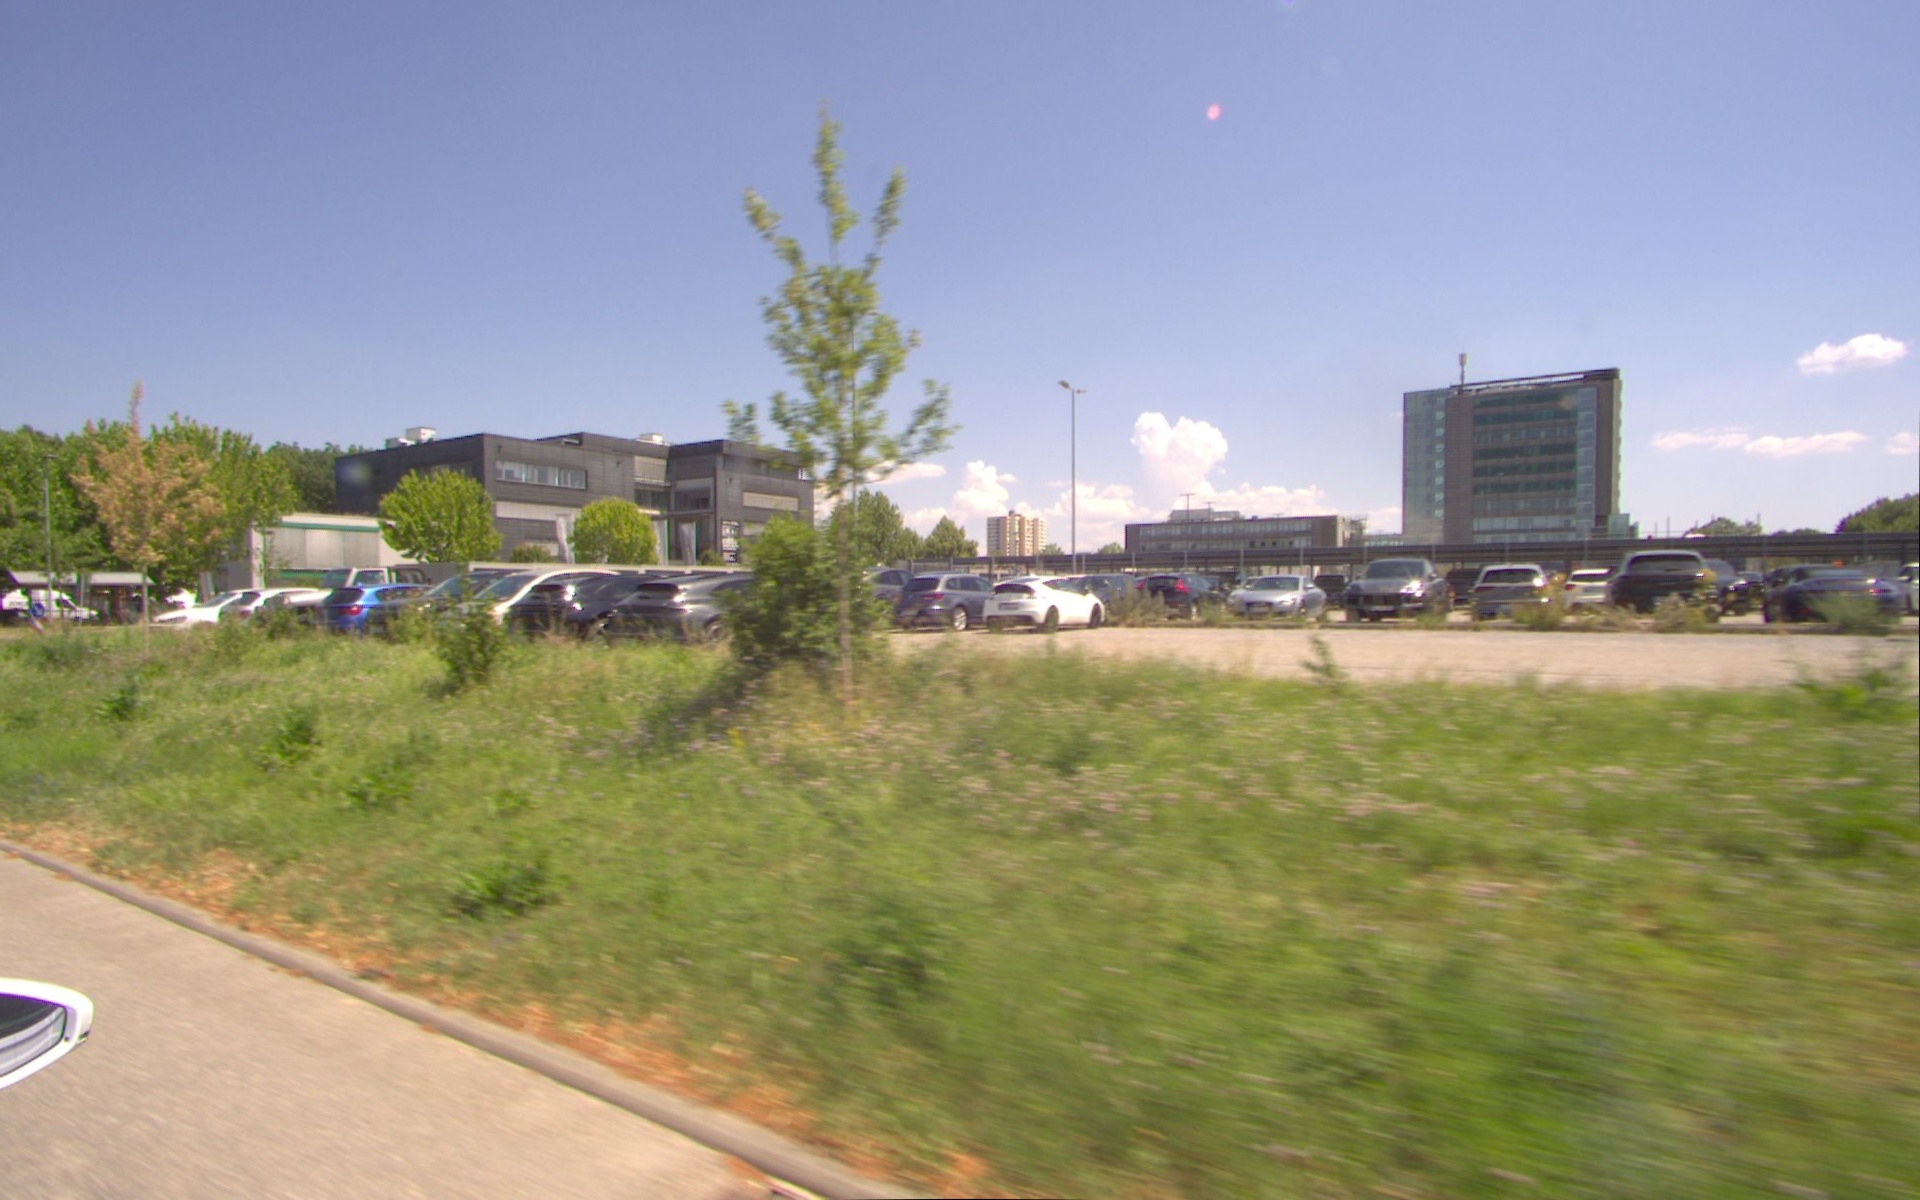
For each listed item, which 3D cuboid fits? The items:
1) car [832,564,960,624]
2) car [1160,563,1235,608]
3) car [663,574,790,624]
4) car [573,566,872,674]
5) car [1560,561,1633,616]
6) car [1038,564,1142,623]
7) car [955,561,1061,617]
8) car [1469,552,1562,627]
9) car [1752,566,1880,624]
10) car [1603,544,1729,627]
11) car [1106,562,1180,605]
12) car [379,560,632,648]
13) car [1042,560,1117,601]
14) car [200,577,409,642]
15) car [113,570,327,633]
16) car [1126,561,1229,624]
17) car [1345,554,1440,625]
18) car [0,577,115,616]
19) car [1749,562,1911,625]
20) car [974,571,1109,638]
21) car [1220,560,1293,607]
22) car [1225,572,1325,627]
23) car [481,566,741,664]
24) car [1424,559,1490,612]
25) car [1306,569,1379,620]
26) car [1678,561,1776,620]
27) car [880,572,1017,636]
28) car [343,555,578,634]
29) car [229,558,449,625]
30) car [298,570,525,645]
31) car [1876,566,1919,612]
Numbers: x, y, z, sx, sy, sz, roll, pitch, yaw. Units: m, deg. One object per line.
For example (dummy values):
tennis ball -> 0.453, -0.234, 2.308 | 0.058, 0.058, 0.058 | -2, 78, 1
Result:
car -> -1.746, -0.241, 28.543 | 1.741, 1.511, 3.980 | 4, 4, 30
car -> 9.399, -0.631, 39.403 | 1.741, 1.618, 3.980 | 4, 4, 30
car -> -7.464, -0.080, 32.333 | 1.741, 1.420, 3.980 | 4, 4, 30
car -> -3.686, 0.200, 16.375 | 1.895, 1.420, 4.688 | 4, 4, 35
car -> 20.745, -0.440, 32.765 | 1.741, 1.618, 3.980 | 4, 4, 30
car -> 4.059, -0.252, 30.680 | 1.741, 1.618, 3.980 | 4, 4, 30
car -> 1.612, -0.410, 32.095 | 1.741, 1.618, 3.980 | 4, 4, 30
car -> 13.500, -0.313, 24.328 | 1.741, 1.618, 3.980 | 4, 4, 30
car -> 24.972, -0.210, 29.371 | 1.969, 1.507, 3.981 | 4, 4, 29
car -> 15.661, -0.376, 22.415 | 1.832, 1.618, 3.980 | 4, 4, 30
car -> 7.594, -0.725, 41.384 | 1.741, 1.618, 3.980 | 4, 4, 30
car -> -8.439, -0.012, 18.970 | 1.741, 1.420, 4.155 | 4, 4, 30
car -> 5.197, -0.895, 43.078 | 1.741, 1.618, 3.980 | 4, 4, 30
car -> -16.723, 0.167, 25.767 | 1.741, 1.420, 4.155 | 4, 4, 30
car -> -19.262, -0.021, 26.259 | 1.741, 1.420, 4.155 | 4, 4, 30
car -> 6.356, -0.279, 28.961 | 1.741, 1.618, 3.980 | 4, 4, 30
car -> 11.131, -0.332, 25.637 | 1.741, 1.618, 3.980 | 4, 4, 30
car -> -52.207, -0.212, 56.084 | 1.974, 2.116, 7.146 | 0, 1, 36
car -> 18.012, -0.195, 20.937 | 1.741, 1.124, 3.980 | 4, 4, 30
car -> 2.111, 0.039, 24.907 | 1.742, 1.420, 3.978 | 4, 4, 31
car -> 11.344, -0.658, 38.106 | 1.741, 1.618, 3.980 | 4, 4, 30
car -> 8.633, -0.081, 27.227 | 1.741, 1.289, 3.980 | 4, 4, 30
car -> -5.895, 0.157, 17.392 | 1.741, 1.420, 4.155 | 4, 4, 30
car -> 17.126, -0.547, 34.410 | 1.741, 1.618, 3.980 | 4, 4, 30
car -> 13.463, -0.244, 35.154 | 1.741, 1.618, 3.980 | 4, 4, 30
car -> 23.248, -0.346, 30.488 | 1.741, 1.618, 3.980 | 4, 4, 30
car -> -0.212, 0.033, 25.878 | 1.741, 1.420, 3.980 | 4, 4, 30
car -> -10.299, -0.183, 20.990 | 1.741, 1.420, 4.155 | 4, 4, 30
car -> -14.737, -0.268, 24.013 | 1.741, 1.420, 4.155 | 4, 4, 30
car -> -12.036, 0.083, 22.259 | 1.741, 1.420, 4.155 | 4, 4, 30
car -> 27.448, -0.298, 28.005 | 1.704, 1.209, 3.981 | 4, 4, 29
